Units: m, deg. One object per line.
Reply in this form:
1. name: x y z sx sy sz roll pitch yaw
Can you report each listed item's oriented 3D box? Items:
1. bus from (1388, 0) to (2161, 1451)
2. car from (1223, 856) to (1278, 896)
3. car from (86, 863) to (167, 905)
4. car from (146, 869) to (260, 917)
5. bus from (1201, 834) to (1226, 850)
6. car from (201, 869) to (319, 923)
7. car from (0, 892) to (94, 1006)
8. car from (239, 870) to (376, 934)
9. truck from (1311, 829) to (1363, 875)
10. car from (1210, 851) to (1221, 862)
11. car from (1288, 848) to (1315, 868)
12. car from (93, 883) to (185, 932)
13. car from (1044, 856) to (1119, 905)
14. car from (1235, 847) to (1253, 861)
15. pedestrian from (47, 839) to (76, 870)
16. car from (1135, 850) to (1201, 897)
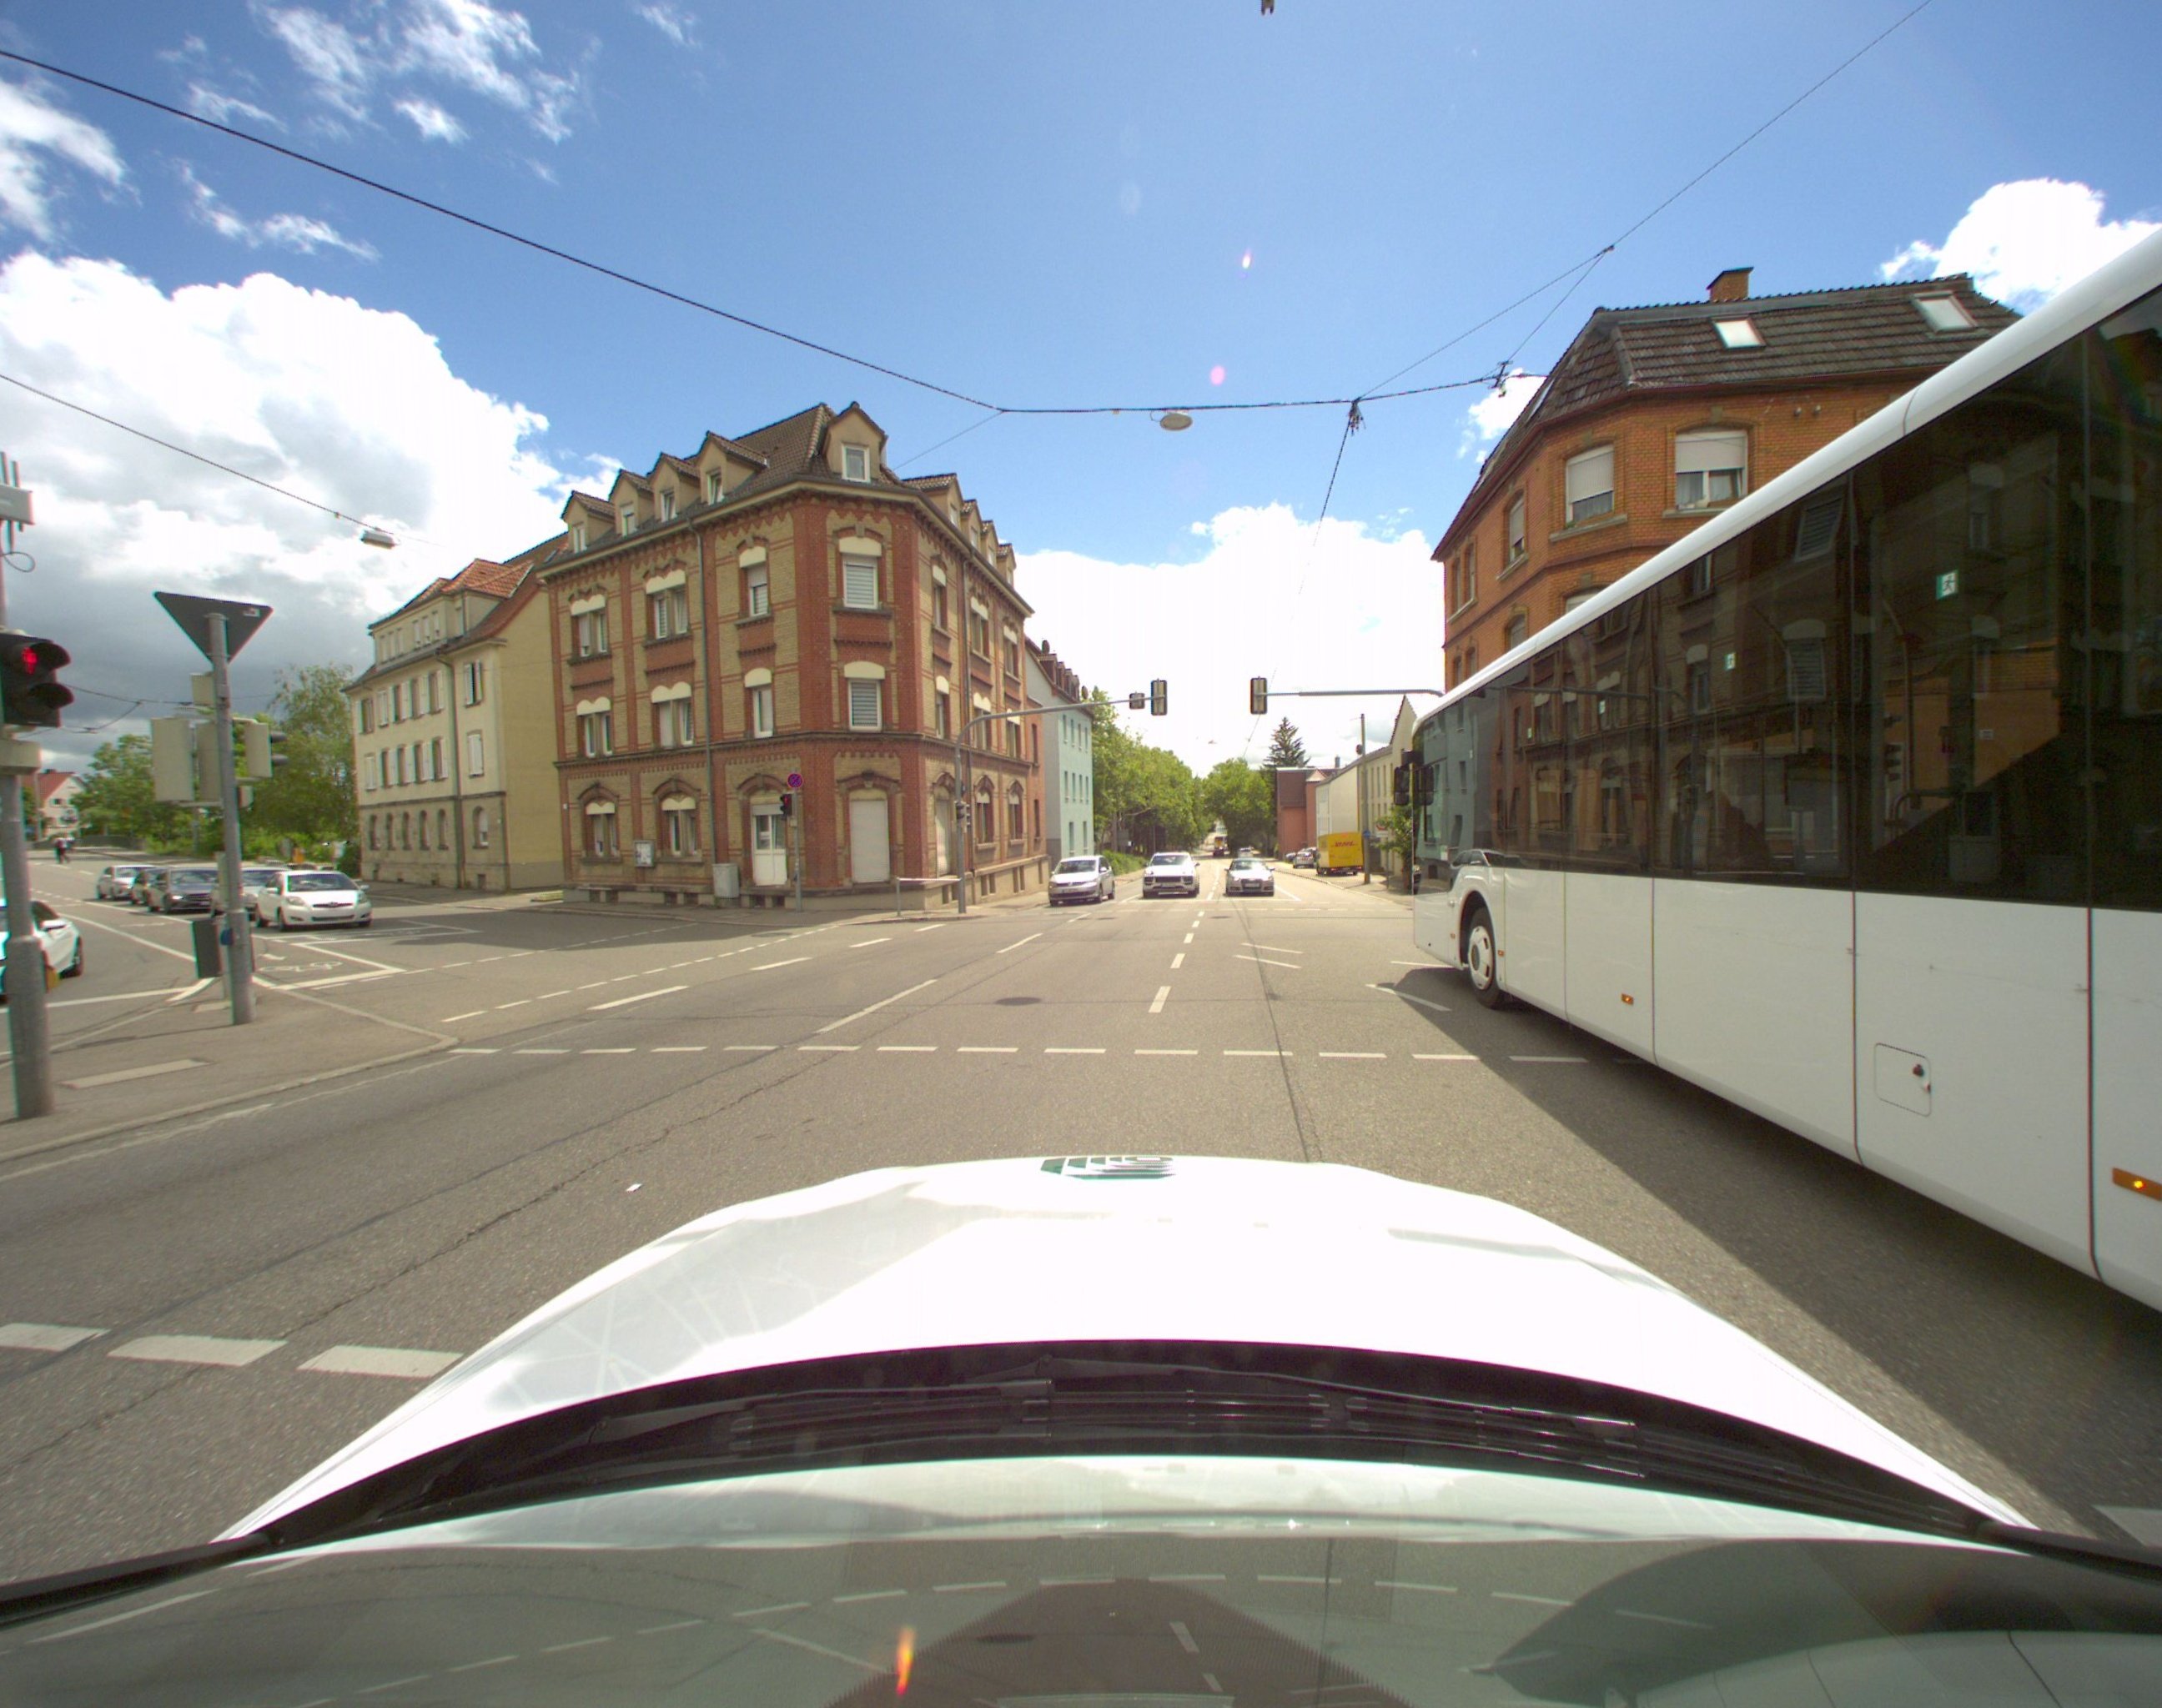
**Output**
1. bus: 4.382 -0.368 4.218 2.887 3.510 12.521 -1 0 10
2. car: 6.433 0.789 31.309 1.853 1.367 4.559 -2 0 10
3. car: -42.140 1.300 35.942 3.948 1.720 1.958 -1 0 35
4. car: -30.876 1.322 28.634 3.948 1.519 2.013 -1 0 32
5. bus: 32.725 -2.972 201.634 3.295 3.631 11.225 -2 0 -5
6. car: -25.696 1.277 25.467 3.948 1.519 1.758 -1 0 32
7. car: -16.366 1.391 11.956 1.874 1.447 4.336 -4 2 -44
8. car: -20.571 1.215 21.636 3.948 1.497 1.712 -1 0 32
9. truck: 17.373 -0.103 55.574 2.526 2.913 6.590 -1 0 10
10. car: 23.289 0.468 140.694 1.808 1.784 4.011 -2 0 10
11. car: 20.558 0.343 76.199 1.900 1.816 4.008 -1 0 7
12. car: -36.347 2.005 31.400 4.290 1.586 2.013 -1 1 37
13. car: 0.106 0.883 29.232 1.924 1.563 4.401 -2 0 10
14. car: 22.602 0.013 112.988 2.081 1.830 4.150 -1 0 7
15. pedestrian: -66.345 0.027 53.002 0.969 2.013 0.856 -1 0 -40
16. car: 3.443 0.695 31.333 2.194 1.613 4.559 -2 0 10
